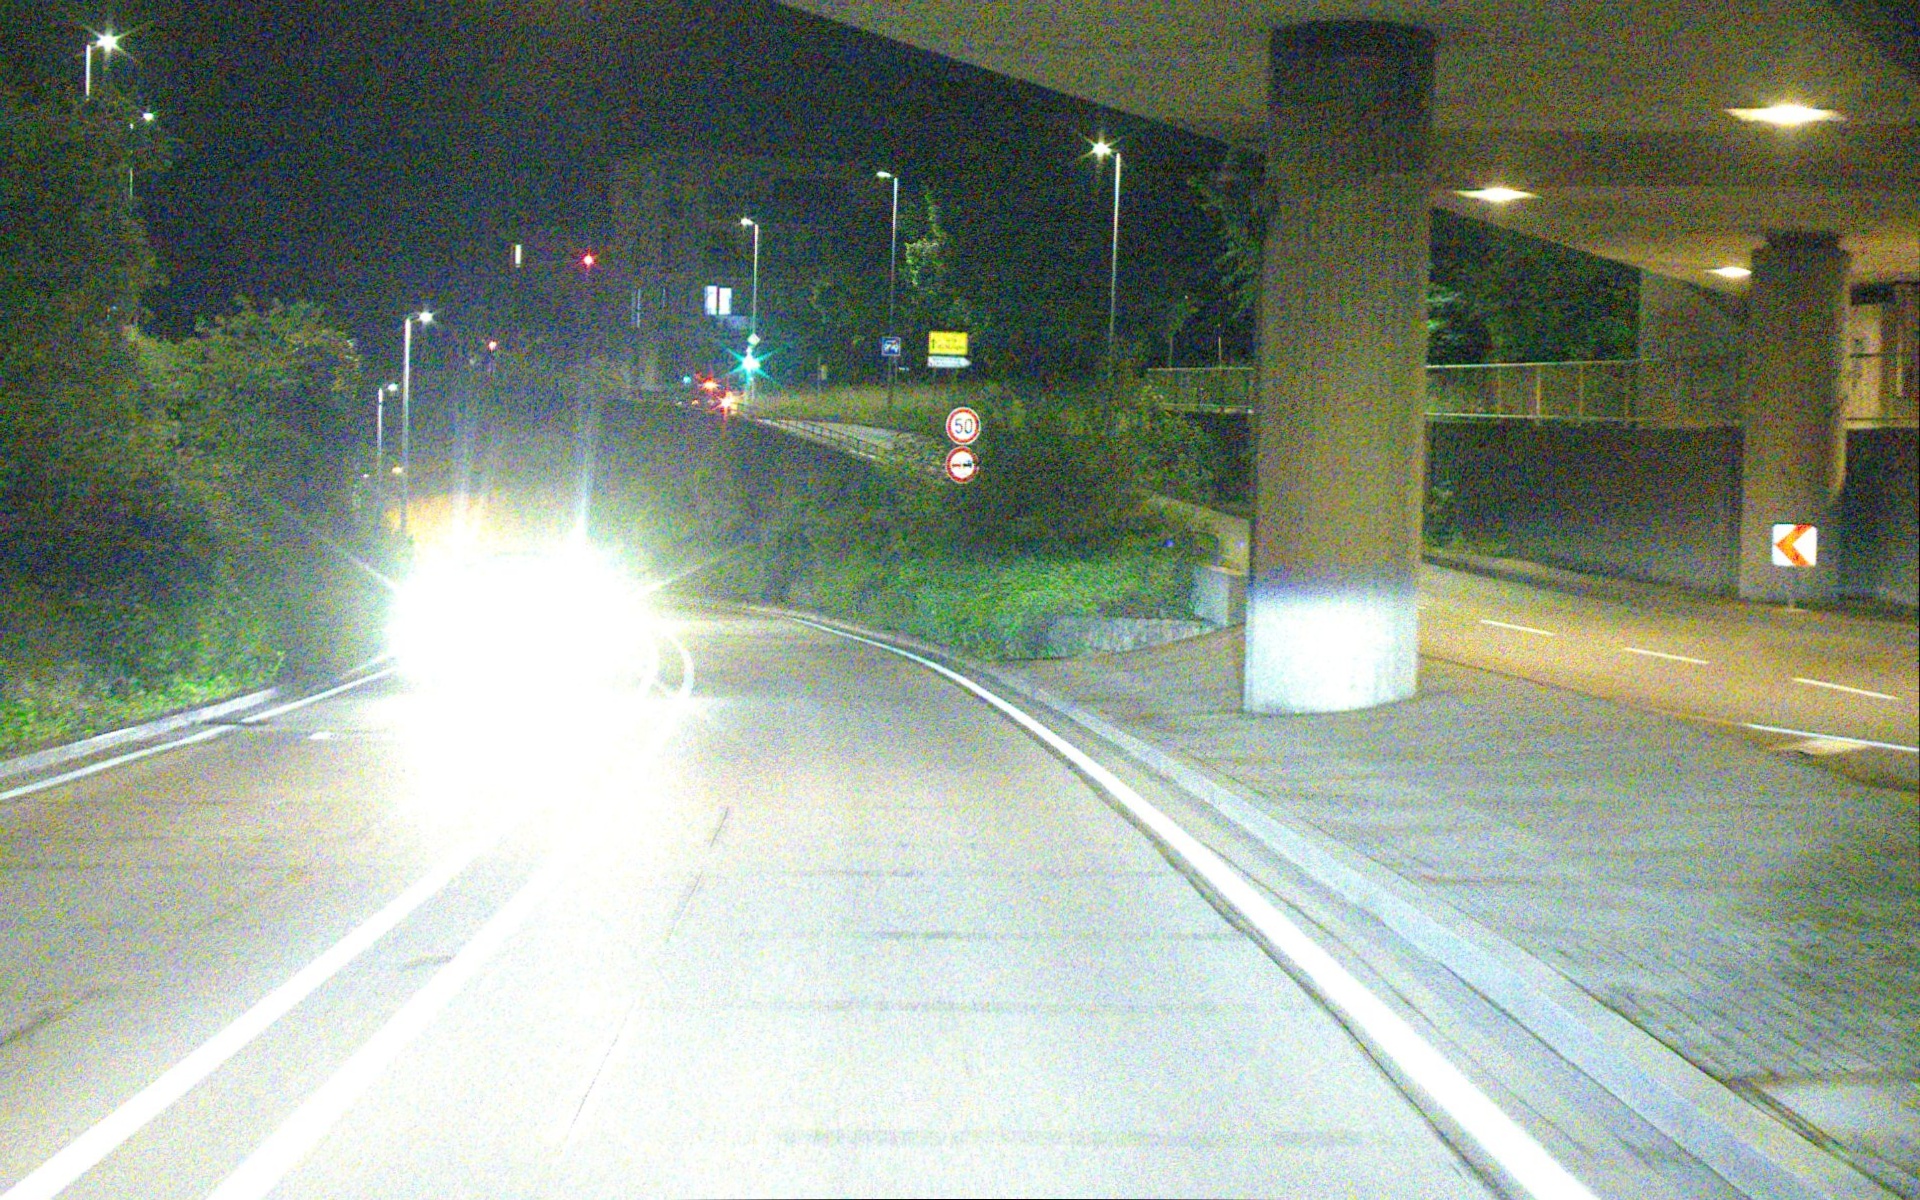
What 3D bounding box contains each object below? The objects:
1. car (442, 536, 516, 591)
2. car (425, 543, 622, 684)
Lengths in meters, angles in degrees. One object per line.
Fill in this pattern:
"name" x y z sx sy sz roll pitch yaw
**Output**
"car" -13.654 -1.038 97.480 1.858 1.505 4.001 0 1 -11
"car" -4.793 0.143 38.217 1.787 1.442 4.172 1 0 -2
